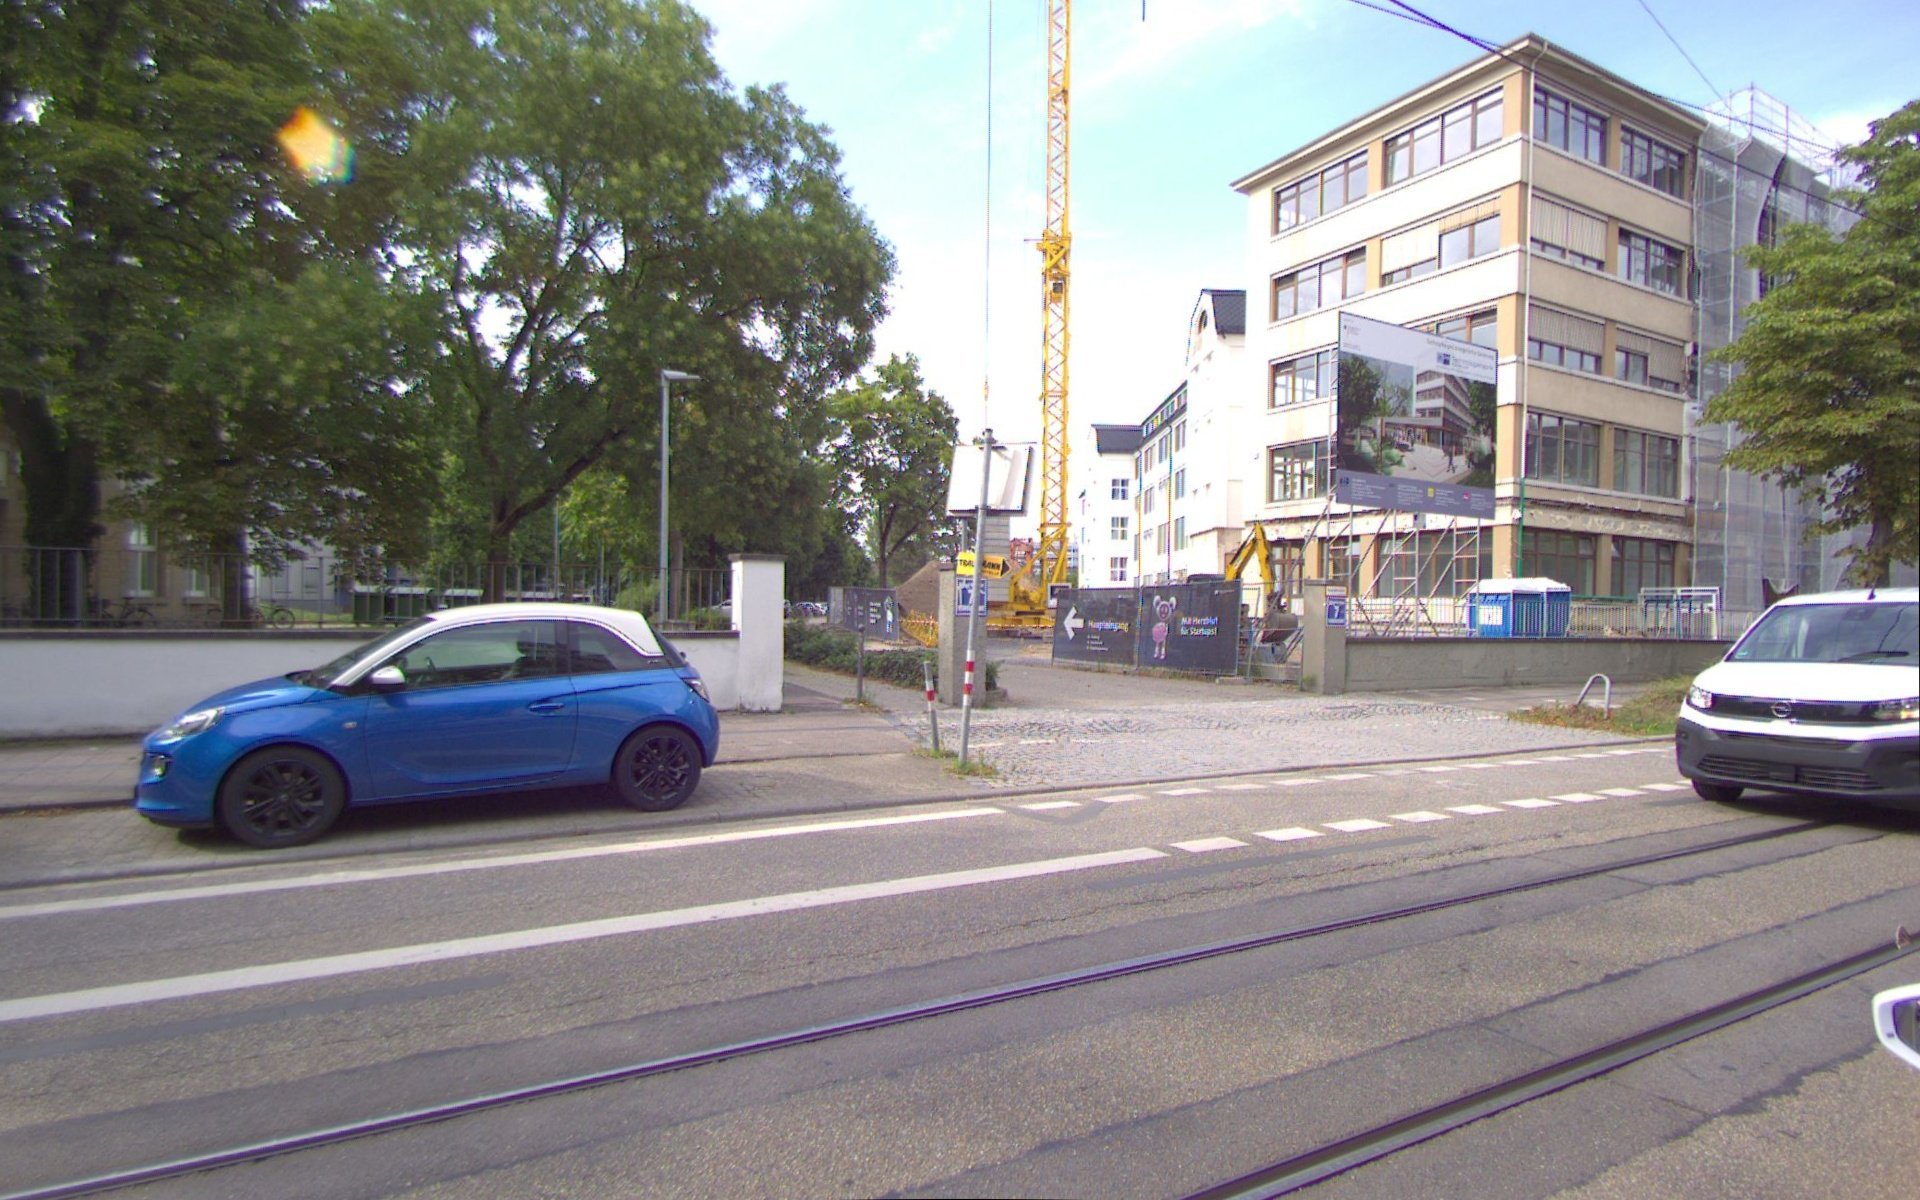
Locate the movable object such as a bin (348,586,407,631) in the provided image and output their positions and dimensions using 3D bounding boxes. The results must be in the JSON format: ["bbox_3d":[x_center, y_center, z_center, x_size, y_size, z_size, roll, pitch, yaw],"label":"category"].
[{"bbox_3d":[-19.377,0.293,33.442,1.259,1.449,1.122,2,0,-2],"label":"movable object such as a bin"}]

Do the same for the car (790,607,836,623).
[{"bbox_3d":[-15.510,1.604,105.873,4.719,1.508,1.997,2,0,-8],"label":"car"}]

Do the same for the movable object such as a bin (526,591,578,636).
[{"bbox_3d":[-13.586,0.458,33.467,1.259,1.449,1.122,2,0,-2],"label":"movable object such as a bin"}]

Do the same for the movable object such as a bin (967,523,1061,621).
[{"bbox_3d":[4.252,-1.870,75.036,3.781,6.758,10.988,2,0,20],"label":"movable object such as a bin"}]

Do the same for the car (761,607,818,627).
[{"bbox_3d":[-14.540,1.441,85.989,4.719,1.508,1.997,2,0,-8],"label":"car"}]

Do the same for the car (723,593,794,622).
[{"bbox_3d":[-15.183,0.570,75.889,4.965,1.979,1.999,2,0,-4],"label":"car"}]

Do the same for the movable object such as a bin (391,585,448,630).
[{"bbox_3d":[-18.015,0.243,33.506,1.259,1.449,1.122,2,0,-2],"label":"movable object such as a bin"}]

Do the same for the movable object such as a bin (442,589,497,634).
[{"bbox_3d":[-16.442,0.383,33.705,1.259,1.449,1.122,2,0,-2],"label":"movable object such as a bin"}]

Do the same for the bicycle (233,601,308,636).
[{"bbox_3d":[-22.204,0.595,32.351,1.940,1.057,0.594,1,1,-4],"label":"bicycle"}]

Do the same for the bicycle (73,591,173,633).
[{"bbox_3d":[-22.349,0.327,26.860,1.953,1.057,0.590,1,1,-28],"label":"bicycle"}]

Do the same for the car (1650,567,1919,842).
[{"bbox_3d":[8.078,0.733,8.594,4.623,1.848,1.786,1,0,-30],"label":"car"}]

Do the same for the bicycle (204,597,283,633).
[{"bbox_3d":[-22.083,0.466,30.996,1.940,1.057,0.594,1,1,-4],"label":"bicycle"}]

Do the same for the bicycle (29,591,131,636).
[{"bbox_3d":[-21.947,0.328,25.077,1.940,1.057,0.594,1,1,-4],"label":"bicycle"}]

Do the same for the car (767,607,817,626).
[{"bbox_3d":[-14.786,1.471,88.653,4.268,1.564,1.751,2,0,-8],"label":"car"}]

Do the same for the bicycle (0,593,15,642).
[{"bbox_3d":[-21.836,0.365,21.816,1.940,1.057,0.594,1,1,-4],"label":"bicycle"}]

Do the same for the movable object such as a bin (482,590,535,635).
[{"bbox_3d":[-15.103,0.423,33.632,1.259,1.449,1.122,2,0,-2],"label":"movable object such as a bin"}]

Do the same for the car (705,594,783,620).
[{"bbox_3d":[-13.832,0.451,64.598,4.719,1.508,1.997,2,0,-8],"label":"car"}]

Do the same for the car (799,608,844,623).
[{"bbox_3d":[-15.029,1.643,108.885,4.719,1.508,1.997,2,0,-8],"label":"car"}]

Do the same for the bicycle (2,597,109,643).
[{"bbox_3d":[-21.862,0.475,24.297,1.940,1.057,0.594,1,1,-4],"label":"bicycle"}]

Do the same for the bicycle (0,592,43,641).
[{"bbox_3d":[-21.919,0.351,22.596,1.940,1.057,0.594,1,1,-4],"label":"bicycle"}]

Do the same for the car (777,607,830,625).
[{"bbox_3d":[-14.313,1.478,91.975,4.719,1.508,1.997,2,0,-8],"label":"car"}]

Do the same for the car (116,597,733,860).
[{"bbox_3d":[-3.638,0.758,7.305,3.560,1.484,1.620,1,0,-30],"label":"car"}]

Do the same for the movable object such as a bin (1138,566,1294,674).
[{"bbox_3d":[6.280,0.480,24.988,2.459,2.475,3.048,2,0,-19],"label":"movable object such as a bin"}]

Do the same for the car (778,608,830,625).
[{"bbox_3d":[-14.698,1.537,94.800,4.719,1.508,1.997,2,0,-8],"label":"car"}]
